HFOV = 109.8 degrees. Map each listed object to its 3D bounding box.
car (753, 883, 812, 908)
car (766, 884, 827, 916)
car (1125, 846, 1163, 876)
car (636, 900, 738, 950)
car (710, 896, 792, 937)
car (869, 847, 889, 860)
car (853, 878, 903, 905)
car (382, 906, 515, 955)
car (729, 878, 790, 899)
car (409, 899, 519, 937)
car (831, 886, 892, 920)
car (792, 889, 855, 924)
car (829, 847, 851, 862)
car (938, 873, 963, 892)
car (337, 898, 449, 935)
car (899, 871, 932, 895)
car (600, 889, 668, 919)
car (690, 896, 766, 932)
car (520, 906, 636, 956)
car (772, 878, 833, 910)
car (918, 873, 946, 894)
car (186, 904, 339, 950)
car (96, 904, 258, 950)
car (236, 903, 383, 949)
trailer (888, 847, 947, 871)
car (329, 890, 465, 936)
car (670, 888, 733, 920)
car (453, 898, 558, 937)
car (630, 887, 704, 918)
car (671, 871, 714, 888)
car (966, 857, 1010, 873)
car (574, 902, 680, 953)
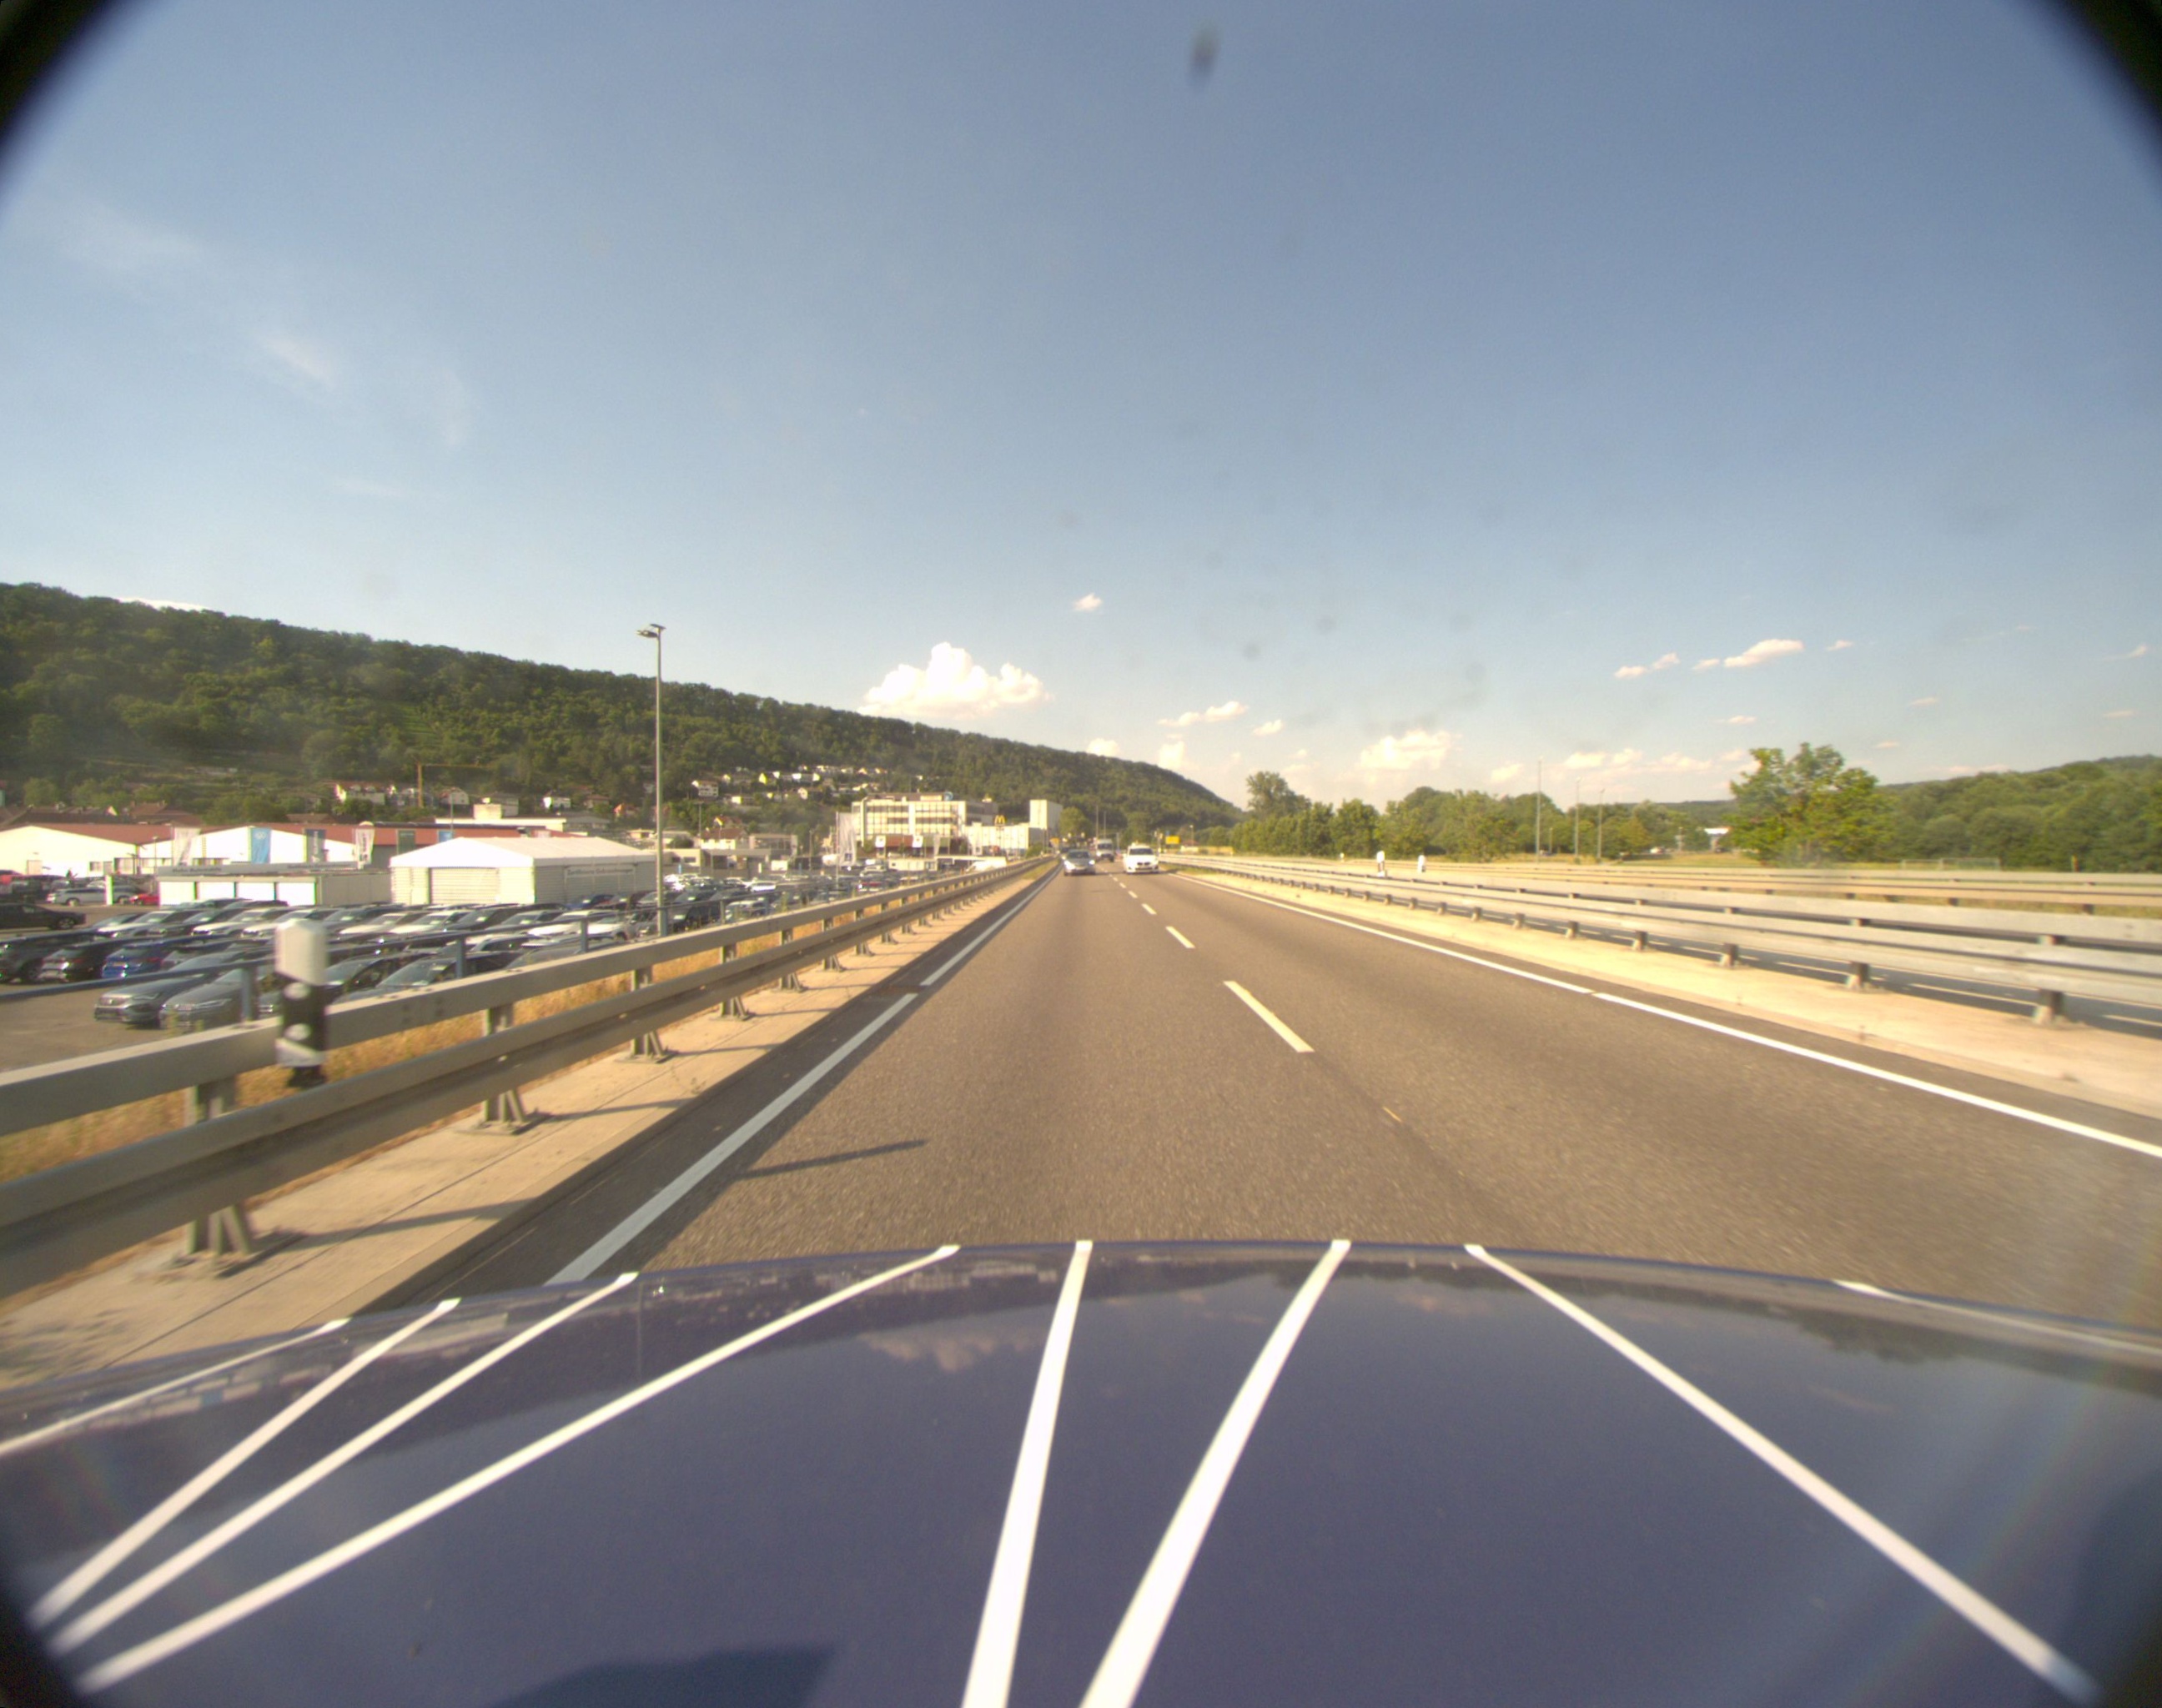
[{"bbox_3d":[-22.453,3.109,57.350,1.883,1.513,4.732,-2,1,10],"label":"car"},{"bbox_3d":[-18.280,2.932,49.102,1.884,1.627,4.730,-2,1,4],"label":"car"},{"bbox_3d":[3.543,0.371,43.206,1.825,1.551,3.999,-2,1,1],"label":"car"},{"bbox_3d":[-17.206,3.056,33.489,2.004,1.641,4.728,-2,1,-1],"label":"car"},{"bbox_3d":[-17.265,3.215,40.043,1.884,1.627,4.730,-2,1,5],"label":"car"},{"bbox_3d":[-36.325,-0.060,136.620,1.759,2.233,5.297,-2,1,3],"label":"car"},{"bbox_3d":[-14.642,2.673,55.060,1.883,1.616,4.730,-2,1,5],"label":"car"},{"bbox_3d":[-29.072,3.467,35.173,1.884,1.627,4.730,-2,1,4],"label":"car"},{"bbox_3d":[-27.634,2.973,65.389,4.433,1.627,1.886,-2,1,8],"label":"car"},{"bbox_3d":[-34.262,3.516,42.384,1.883,1.627,4.730,-2,1,5],"label":"car"},{"bbox_3d":[-13.264,2.953,46.210,1.884,1.616,4.730,-2,1,5],"label":"car"},{"bbox_3d":[-15.518,3.127,46.114,1.884,1.627,4.730,-2,1,4],"label":"car"},{"bbox_3d":[-41.933,0.065,132.367,1.759,2.535,5.469,-2,1,3],"label":"car"},{"bbox_3d":[-13.200,2.861,77.118,1.741,1.616,4.310,-2,1,0],"label":"car"},{"bbox_3d":[-39.131,3.529,43.381,1.883,1.627,4.574,-2,1,5],"label":"car"},{"bbox_3d":[-13.160,2.289,60.810,1.885,1.616,4.727,-2,1,-4],"label":"car"},{"bbox_3d":[-29.818,3.313,50.844,1.778,1.674,4.001,-2,1,7],"label":"car"},{"bbox_3d":[-21.026,3.553,45.474,1.883,1.627,4.730,-2,1,6],"label":"car"},{"bbox_3d":[-22.327,3.380,34.007,1.884,1.627,4.729,-2,1,2],"label":"car"},{"bbox_3d":[-20.033,2.875,54.884,1.883,1.920,4.732,-2,1,10],"label":"car"},{"bbox_3d":[-13.672,2.658,69.920,1.742,1.616,4.310,-2,1,0],"label":"car"},{"bbox_3d":[-38.796,3.406,36.247,1.884,1.627,4.730,-2,1,5],"label":"car"},{"bbox_3d":[-43.366,3.446,36.653,1.884,1.627,4.730,-2,1,5],"label":"car"},{"bbox_3d":[-36.487,3.350,36.146,1.884,1.627,4.730,-2,1,5],"label":"car"},{"bbox_3d":[-24.621,0.699,114.474,7.897,3.304,3.359,-2,1,4],"label":"trailer"},{"bbox_3d":[-31.739,2.686,35.497,1.884,1.627,4.729,-2,1,3],"label":"car"},{"bbox_3d":[-24.974,3.262,50.175,1.778,1.674,4.001,-2,1,7],"label":"car"},{"bbox_3d":[-31.787,3.457,42.180,1.883,1.627,4.730,-1,1,5],"label":"car"},{"bbox_3d":[-27.457,3.195,50.571,1.883,1.627,4.730,-2,1,6],"label":"car"},{"bbox_3d":[-45.177,2.959,88.435,3.994,1.849,1.927,-2,1,8],"label":"car"},{"bbox_3d":[-13.262,1.523,108.477,5.895,2.002,2.000,-2,1,3],"label":"car"},{"bbox_3d":[-19.945,3.181,33.668,1.840,1.706,4.666,-2,1,-1],"label":"car"}]
